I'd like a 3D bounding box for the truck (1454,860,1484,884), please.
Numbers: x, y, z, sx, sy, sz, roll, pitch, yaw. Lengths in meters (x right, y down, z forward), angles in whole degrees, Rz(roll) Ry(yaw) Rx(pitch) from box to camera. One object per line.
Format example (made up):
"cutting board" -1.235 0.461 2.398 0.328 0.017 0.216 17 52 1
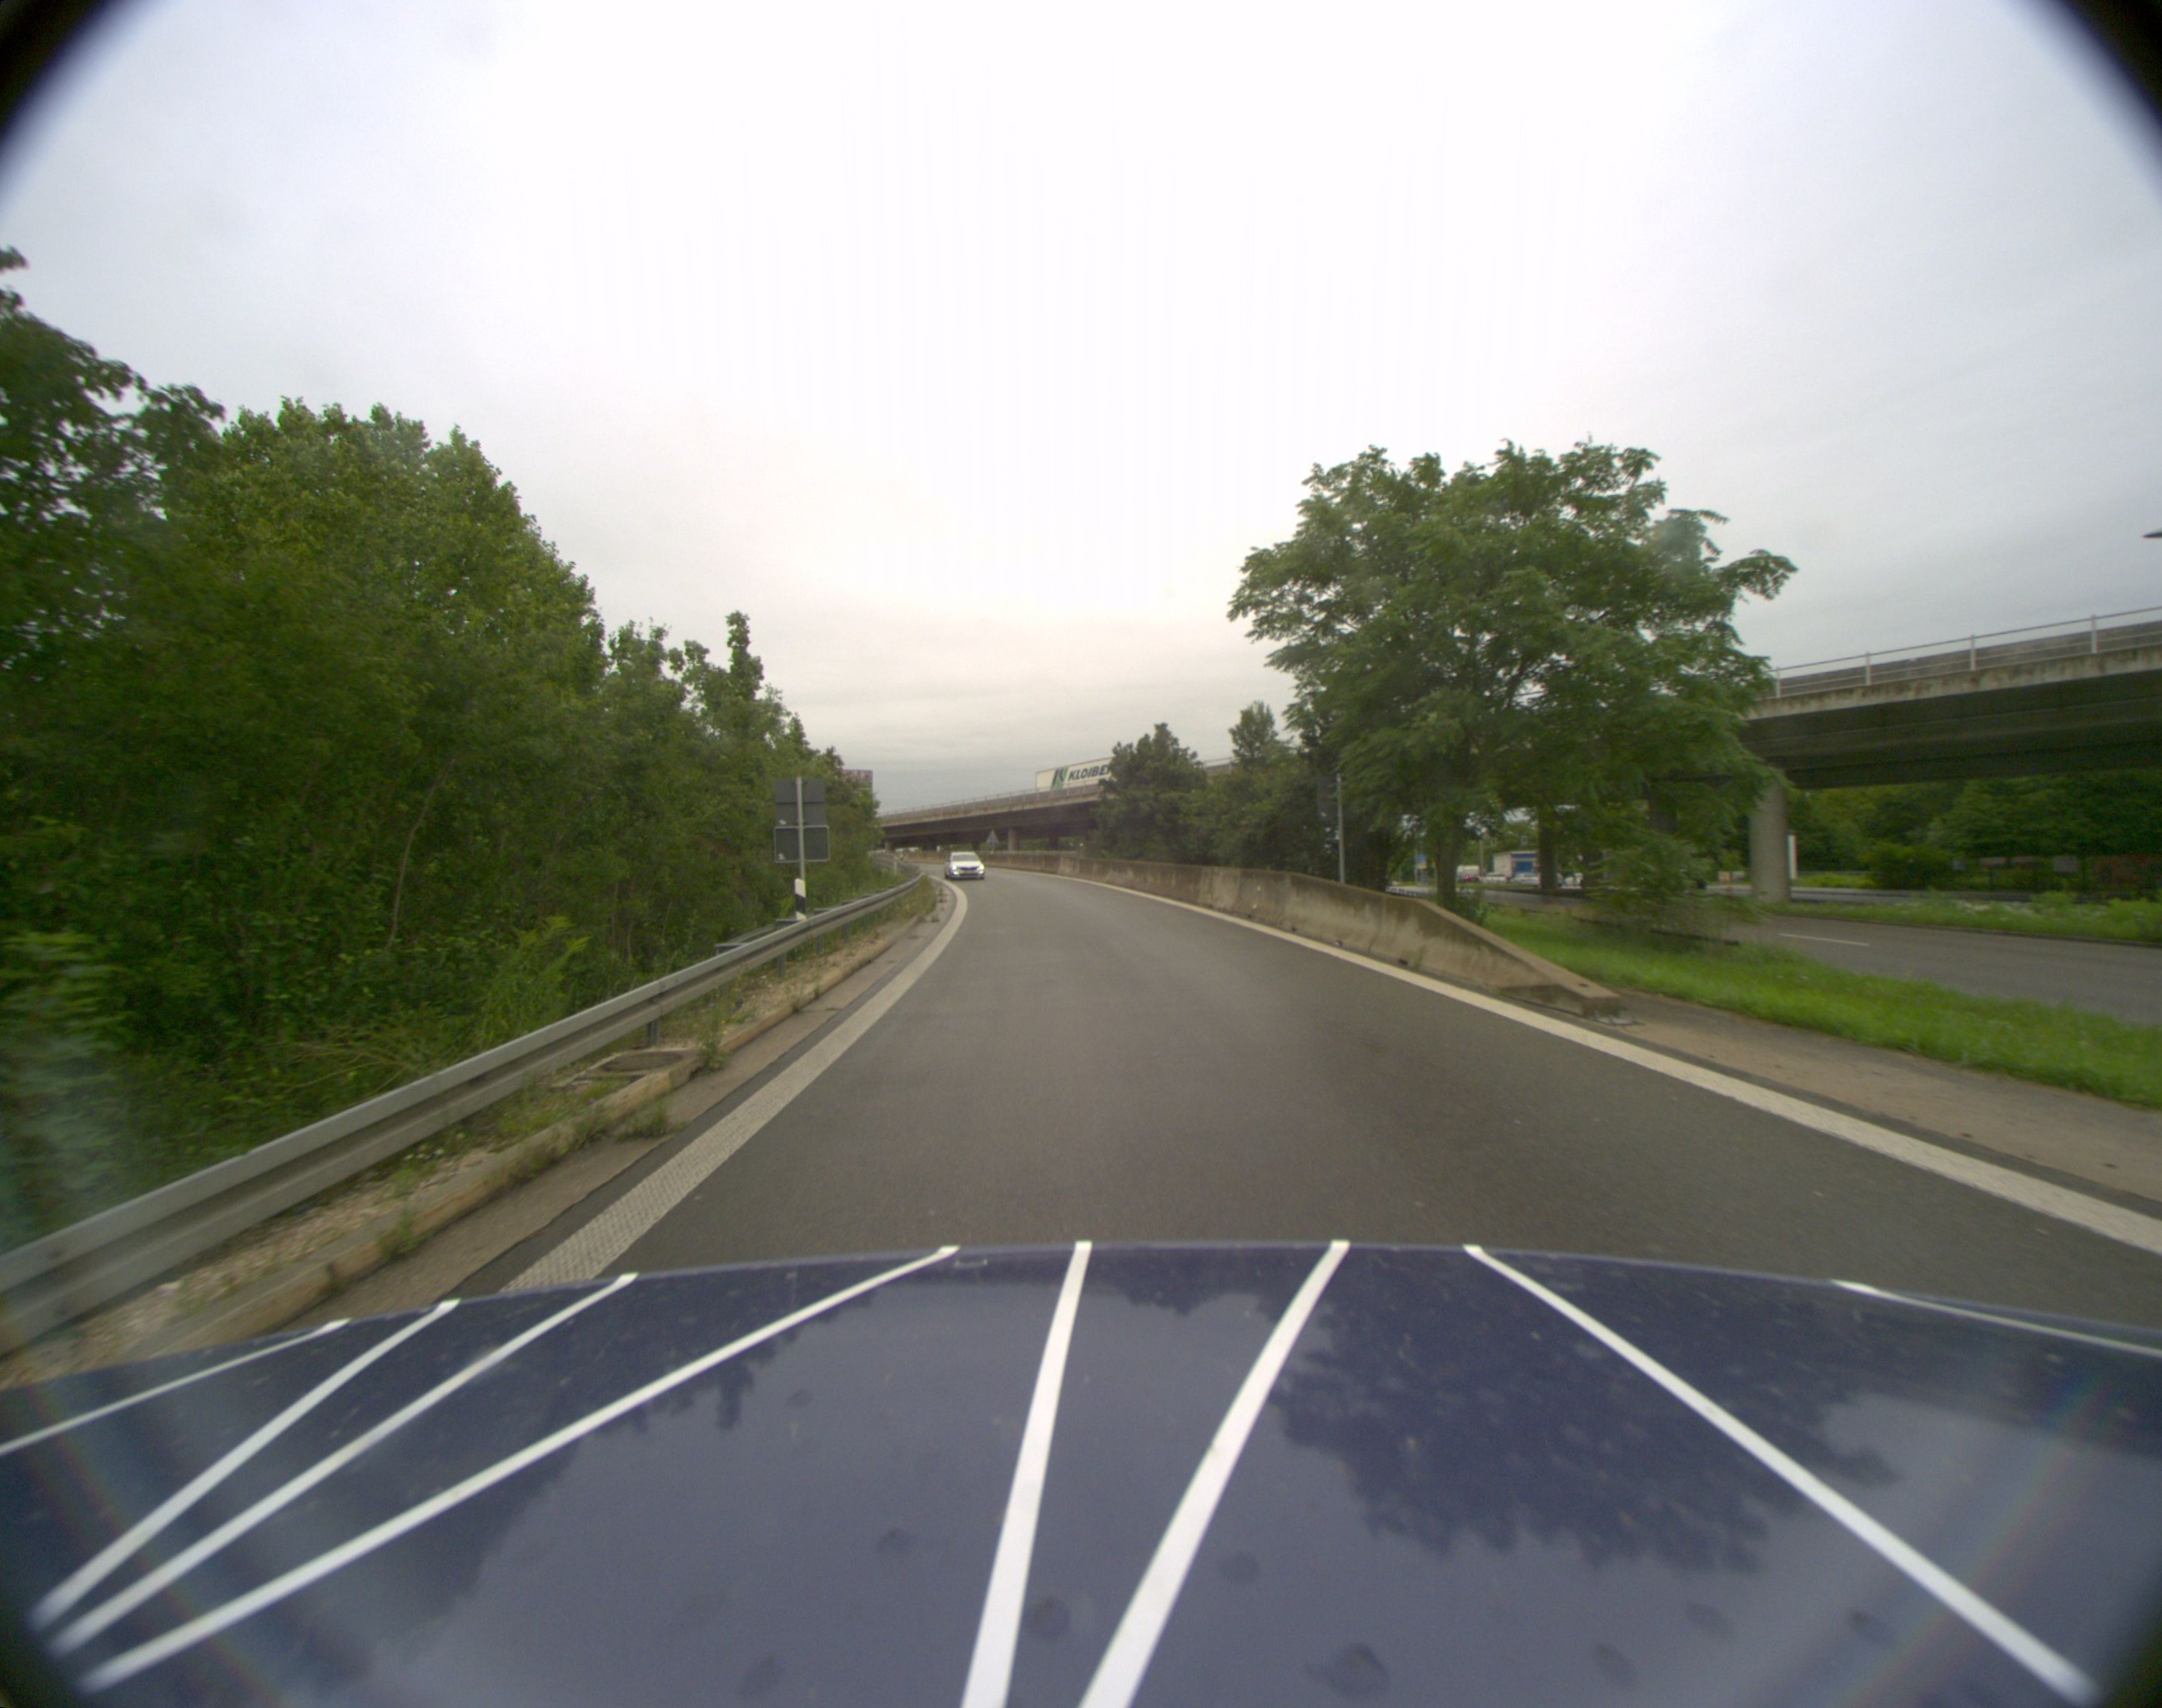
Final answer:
"truck" 60.614 2.758 118.825 2.793 3.658 6.652 1 0 16

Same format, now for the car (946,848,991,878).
"car" -6.081 0.447 40.828 1.917 1.439 4.550 -2 1 -14

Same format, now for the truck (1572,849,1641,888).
"truck" 42.596 1.108 61.838 2.256 2.959 7.242 1 0 15

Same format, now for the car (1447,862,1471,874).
"car" 51.380 1.881 103.352 1.971 1.596 4.596 1 0 14

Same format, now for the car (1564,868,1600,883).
"car" 55.735 2.368 84.647 1.971 1.574 4.597 1 0 15

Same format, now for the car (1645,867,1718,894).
"car" 39.230 1.693 49.778 1.971 1.574 4.596 1 0 14

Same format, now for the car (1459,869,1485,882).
"car" 49.334 2.647 95.943 1.972 1.573 4.596 0 -1 14

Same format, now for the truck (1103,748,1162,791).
"truck" 4.659 -7.665 69.469 2.602 3.227 5.181 -2 0 -36

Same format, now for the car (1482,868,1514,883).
"car" 46.606 2.359 85.043 1.971 1.574 4.596 1 0 14

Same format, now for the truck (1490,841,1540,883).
"truck" 50.436 0.919 88.574 2.793 4.564 9.614 1 0 16

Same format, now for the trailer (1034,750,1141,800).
"trailer" 0.289 -7.619 75.350 2.671 3.278 14.026 -1 -1 -37

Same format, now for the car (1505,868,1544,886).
"car" 43.169 2.180 74.029 1.971 1.574 4.596 1 0 14

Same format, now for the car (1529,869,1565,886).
"car" 47.016 2.353 76.727 1.971 1.574 4.597 1 0 16
